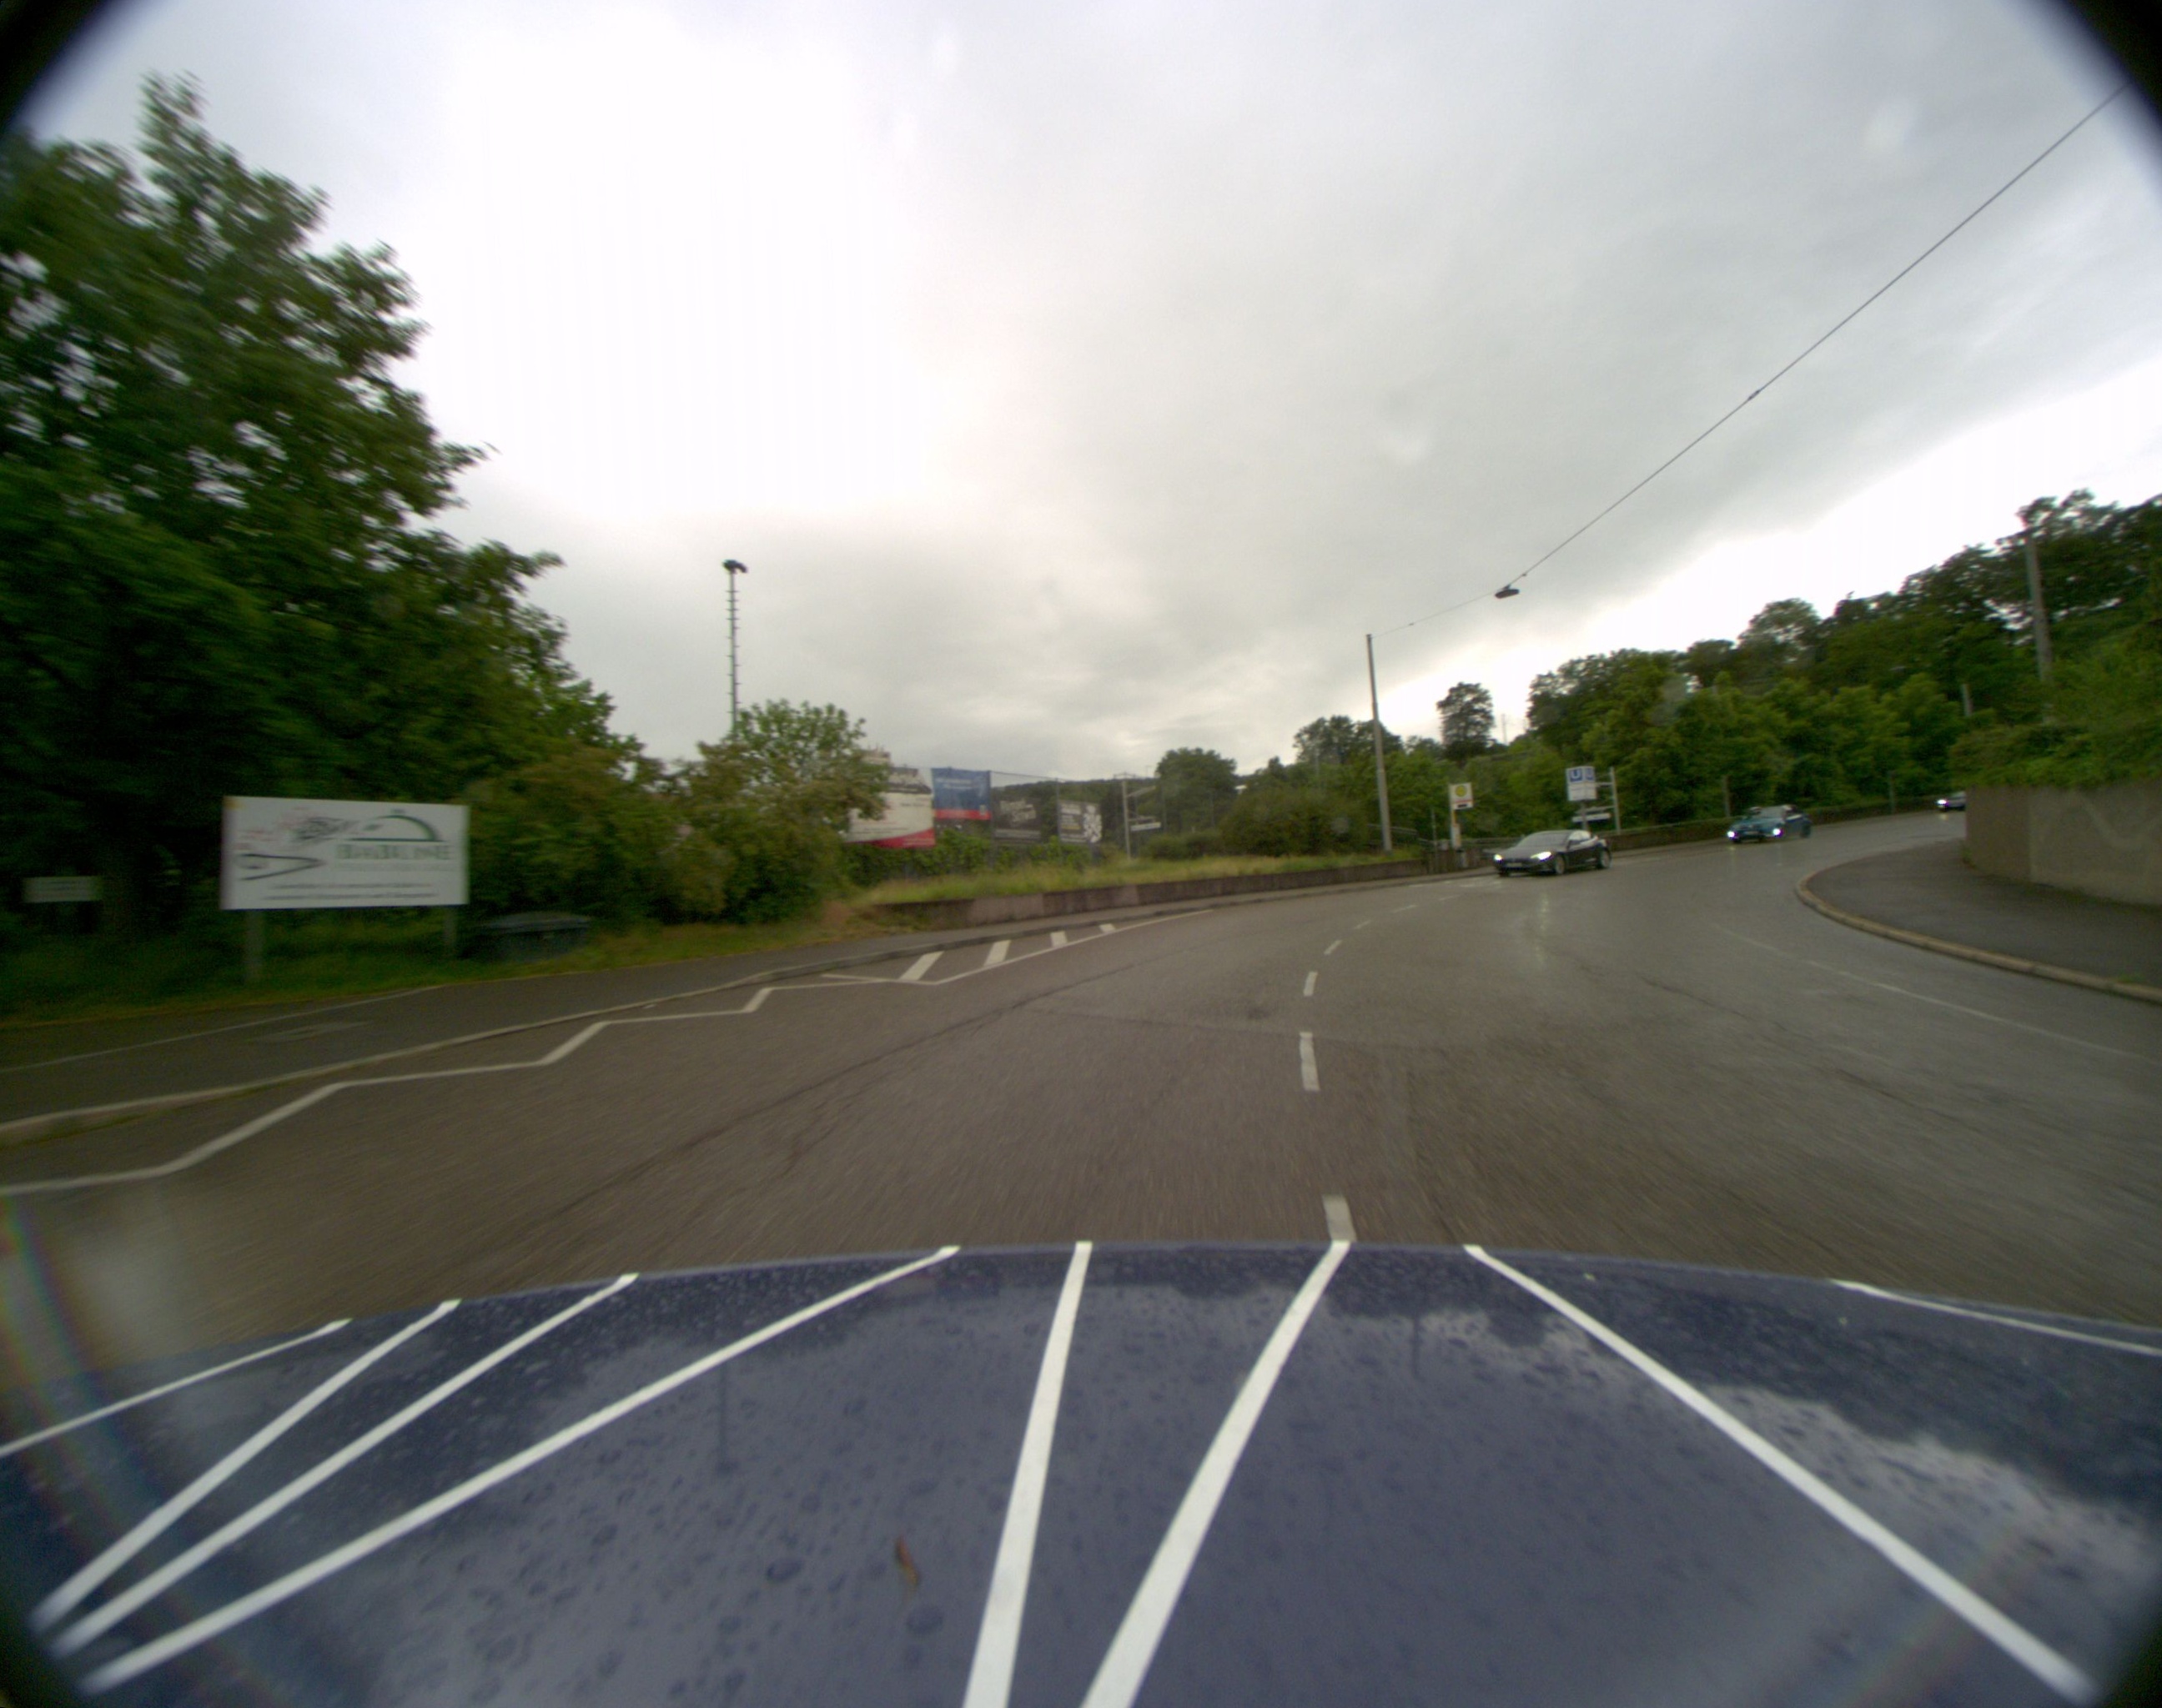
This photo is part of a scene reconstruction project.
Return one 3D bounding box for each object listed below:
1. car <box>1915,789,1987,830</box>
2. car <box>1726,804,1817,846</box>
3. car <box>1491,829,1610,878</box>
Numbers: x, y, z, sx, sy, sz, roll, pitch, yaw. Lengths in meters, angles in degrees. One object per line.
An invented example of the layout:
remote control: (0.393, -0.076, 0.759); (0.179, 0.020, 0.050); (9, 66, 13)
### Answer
car: (54.463, -2.731, 47.550); (4.007, 2.000, 1.997); (3, -6, -28)
car: (30.954, -1.262, 34.035); (4.048, 1.599, 1.799); (0, -5, -31)
car: (15.794, -0.044, 25.511); (4.331, 1.384, 1.832); (-4, 1, -36)
